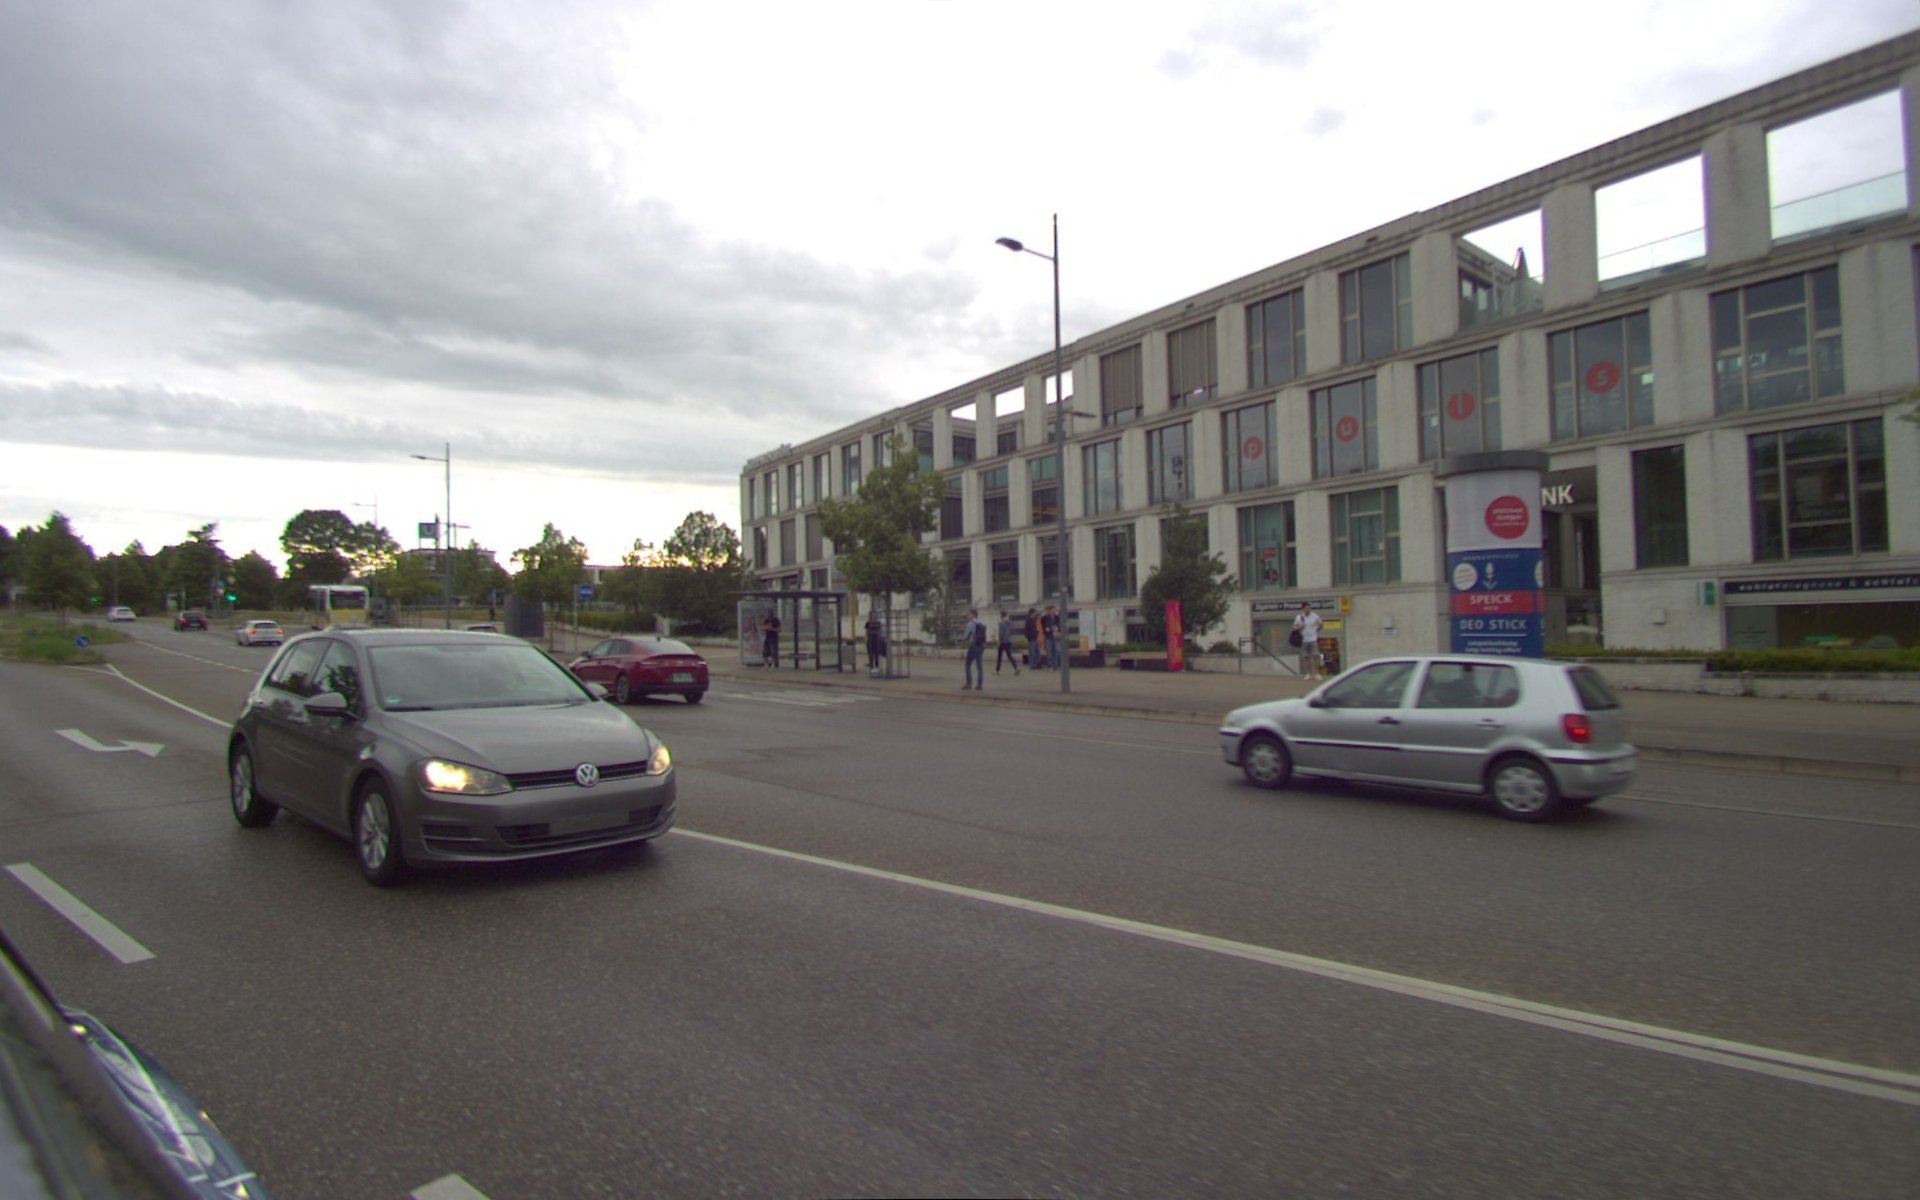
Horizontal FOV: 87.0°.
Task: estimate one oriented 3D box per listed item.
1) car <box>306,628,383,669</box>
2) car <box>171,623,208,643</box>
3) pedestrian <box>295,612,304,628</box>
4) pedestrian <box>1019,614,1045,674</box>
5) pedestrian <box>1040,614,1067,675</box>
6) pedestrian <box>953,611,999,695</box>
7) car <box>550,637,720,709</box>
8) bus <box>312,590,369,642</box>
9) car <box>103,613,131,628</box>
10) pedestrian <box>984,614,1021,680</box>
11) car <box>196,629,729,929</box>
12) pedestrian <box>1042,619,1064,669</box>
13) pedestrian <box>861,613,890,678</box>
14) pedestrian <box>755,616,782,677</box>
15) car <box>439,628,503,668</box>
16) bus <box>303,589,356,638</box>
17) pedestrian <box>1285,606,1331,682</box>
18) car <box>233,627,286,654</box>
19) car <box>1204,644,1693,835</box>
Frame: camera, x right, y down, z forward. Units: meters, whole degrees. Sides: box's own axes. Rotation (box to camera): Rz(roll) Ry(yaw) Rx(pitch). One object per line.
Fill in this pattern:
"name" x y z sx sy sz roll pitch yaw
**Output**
"car" -26.080 2.034 42.812 1.810 1.584 4.598 4 -3 -43
"car" -59.125 2.545 77.668 1.824 1.473 3.871 2 -2 -43
"pedestrian" -66.515 2.027 101.895 0.812 1.606 0.607 -4 -2 42
"pedestrian" 2.105 1.274 29.638 0.518 1.738 0.567 1 -1 -41
"pedestrian" 2.663 1.258 28.899 0.421 1.738 0.621 1 -1 -43
"pedestrian" 0.362 1.181 22.934 0.744 1.856 0.747 0 -1 -41
"car" -7.273 1.557 22.417 1.810 1.427 4.469 4 -4 -43
"bus" -44.193 1.030 72.080 2.784 3.498 8.251 -1 1 -36
"car" -85.607 2.081 102.769 1.970 1.429 4.517 0 0 -43
"pedestrian" 1.170 1.276 27.776 0.591 1.775 0.858 1 -1 -41
"car" -3.601 0.943 6.965 4.195 1.441 1.786 -2 -4 41
"pedestrian" 2.749 1.304 29.931 0.421 1.462 0.510 1 -1 -43
"pedestrian" -2.473 1.320 29.639 0.607 1.870 0.573 -2 -2 44
"pedestrian" -5.888 1.418 31.094 0.501 1.856 0.756 1 -2 -44
"car" -20.569 2.004 42.538 1.594 1.519 2.975 -1 0 -43
"bus" -49.597 0.946 79.522 2.784 3.498 9.998 -1 1 -36
"pedestrian" 7.960 1.002 23.139 0.912 1.703 0.493 -1 -1 30
"car" -40.495 2.312 58.452 1.851 1.441 4.180 4 -3 -43
"car" 4.502 1.165 9.746 1.741 1.427 3.882 4 -4 -43
